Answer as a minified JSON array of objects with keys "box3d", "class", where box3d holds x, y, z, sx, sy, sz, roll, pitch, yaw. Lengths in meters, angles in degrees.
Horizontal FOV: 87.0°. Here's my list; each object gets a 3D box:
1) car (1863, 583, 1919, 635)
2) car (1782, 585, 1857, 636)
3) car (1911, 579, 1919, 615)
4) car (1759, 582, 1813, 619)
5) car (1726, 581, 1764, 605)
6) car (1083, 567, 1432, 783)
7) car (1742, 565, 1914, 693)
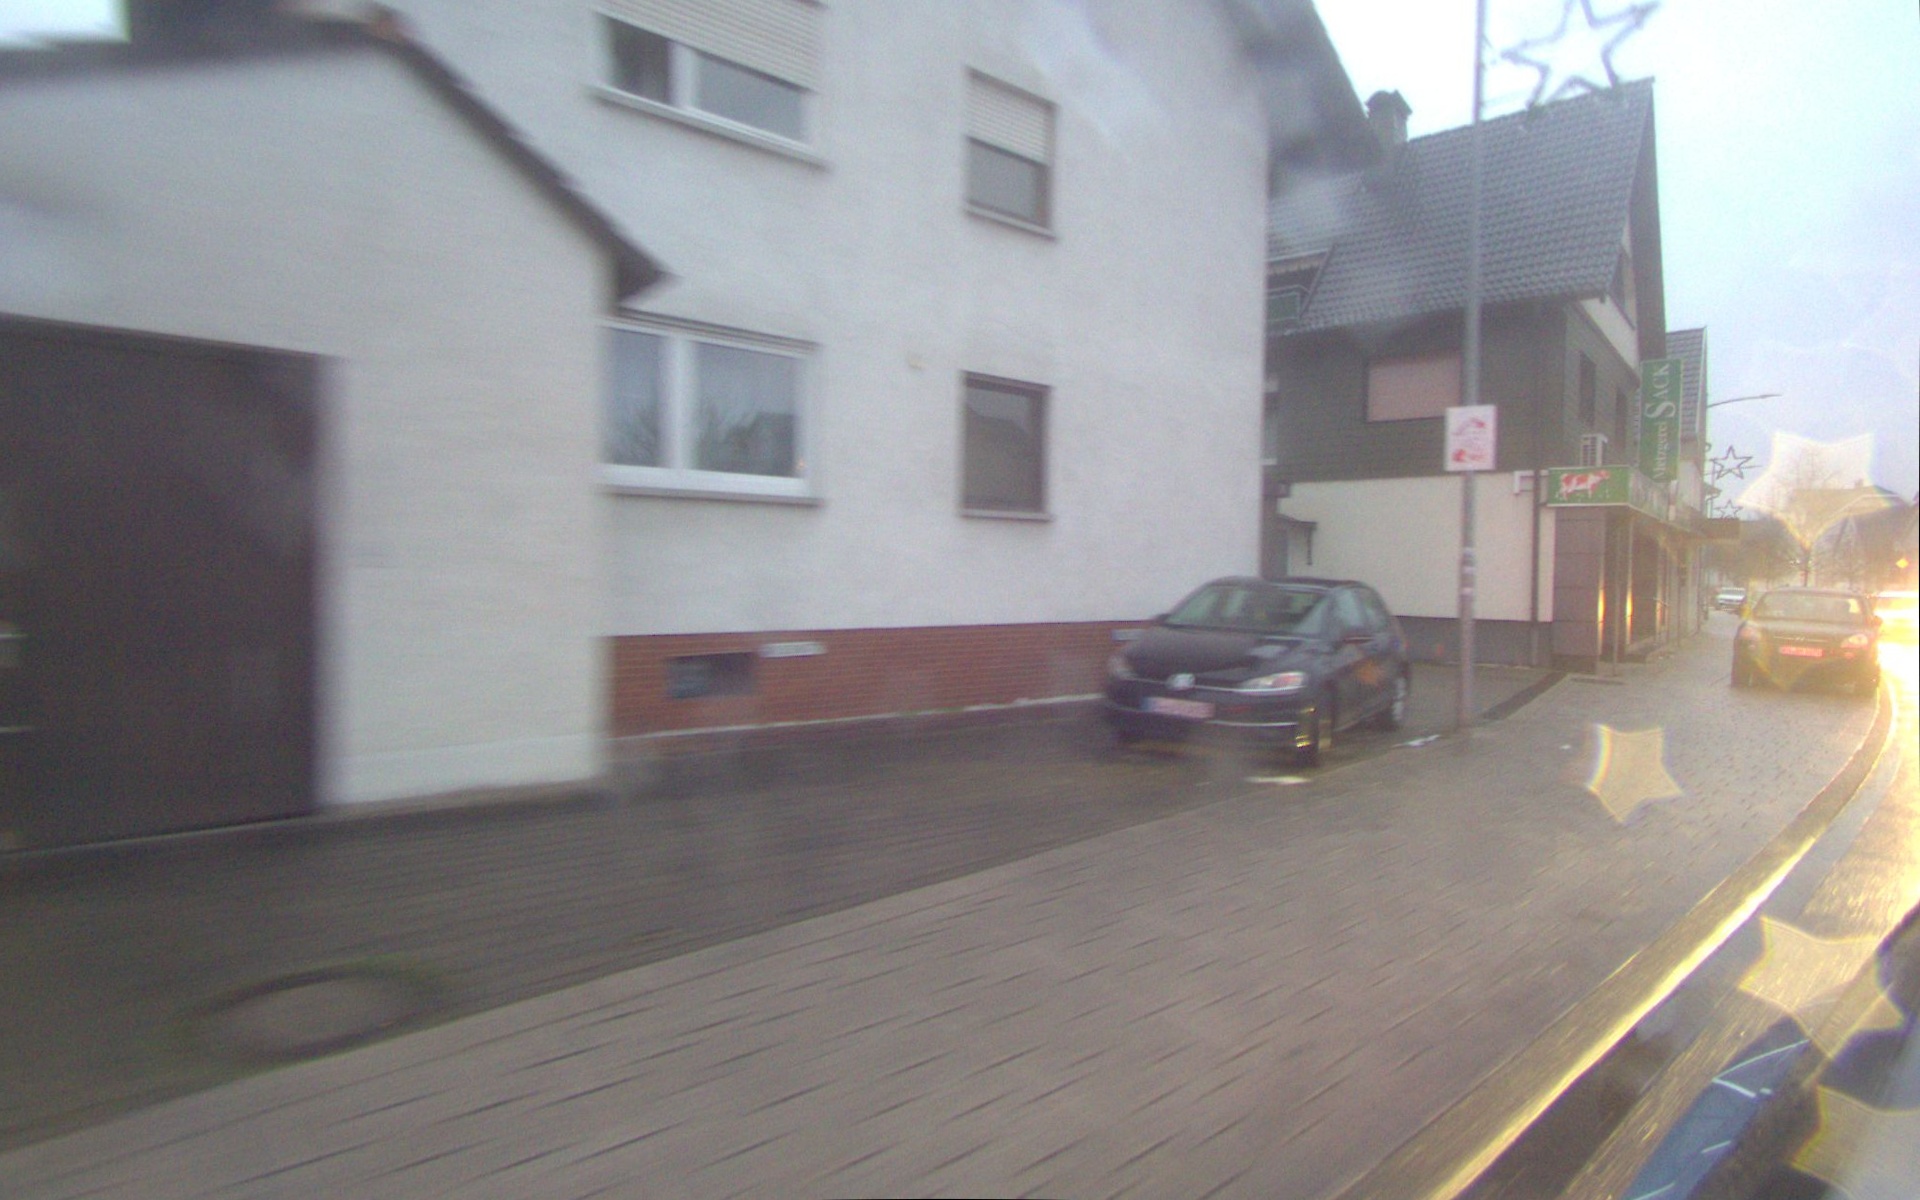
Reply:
[{"box3d":[32.327,0.267,34.396,1.896,1.660,4.508,2,2,35],"class":"car"},{"box3d":[28.432,0.308,33.573,1.650,1.472,4.180,5,4,38],"class":"car"},{"box3d":[45.675,-0.117,46.991,1.657,1.656,3.507,1,1,35],"class":"car"},{"box3d":[38.713,0.001,47.511,1.660,1.595,4.439,2,2,36],"class":"car"},{"box3d":[54.480,-0.501,70.303,1.802,1.583,4.251,2,2,35],"class":"car"},{"box3d":[2.841,0.472,9.074,1.761,1.410,3.863,4,3,36],"class":"car"},{"box3d":[14.613,0.399,16.969,3.935,1.803,1.772,0,5,-45],"class":"car"}]
